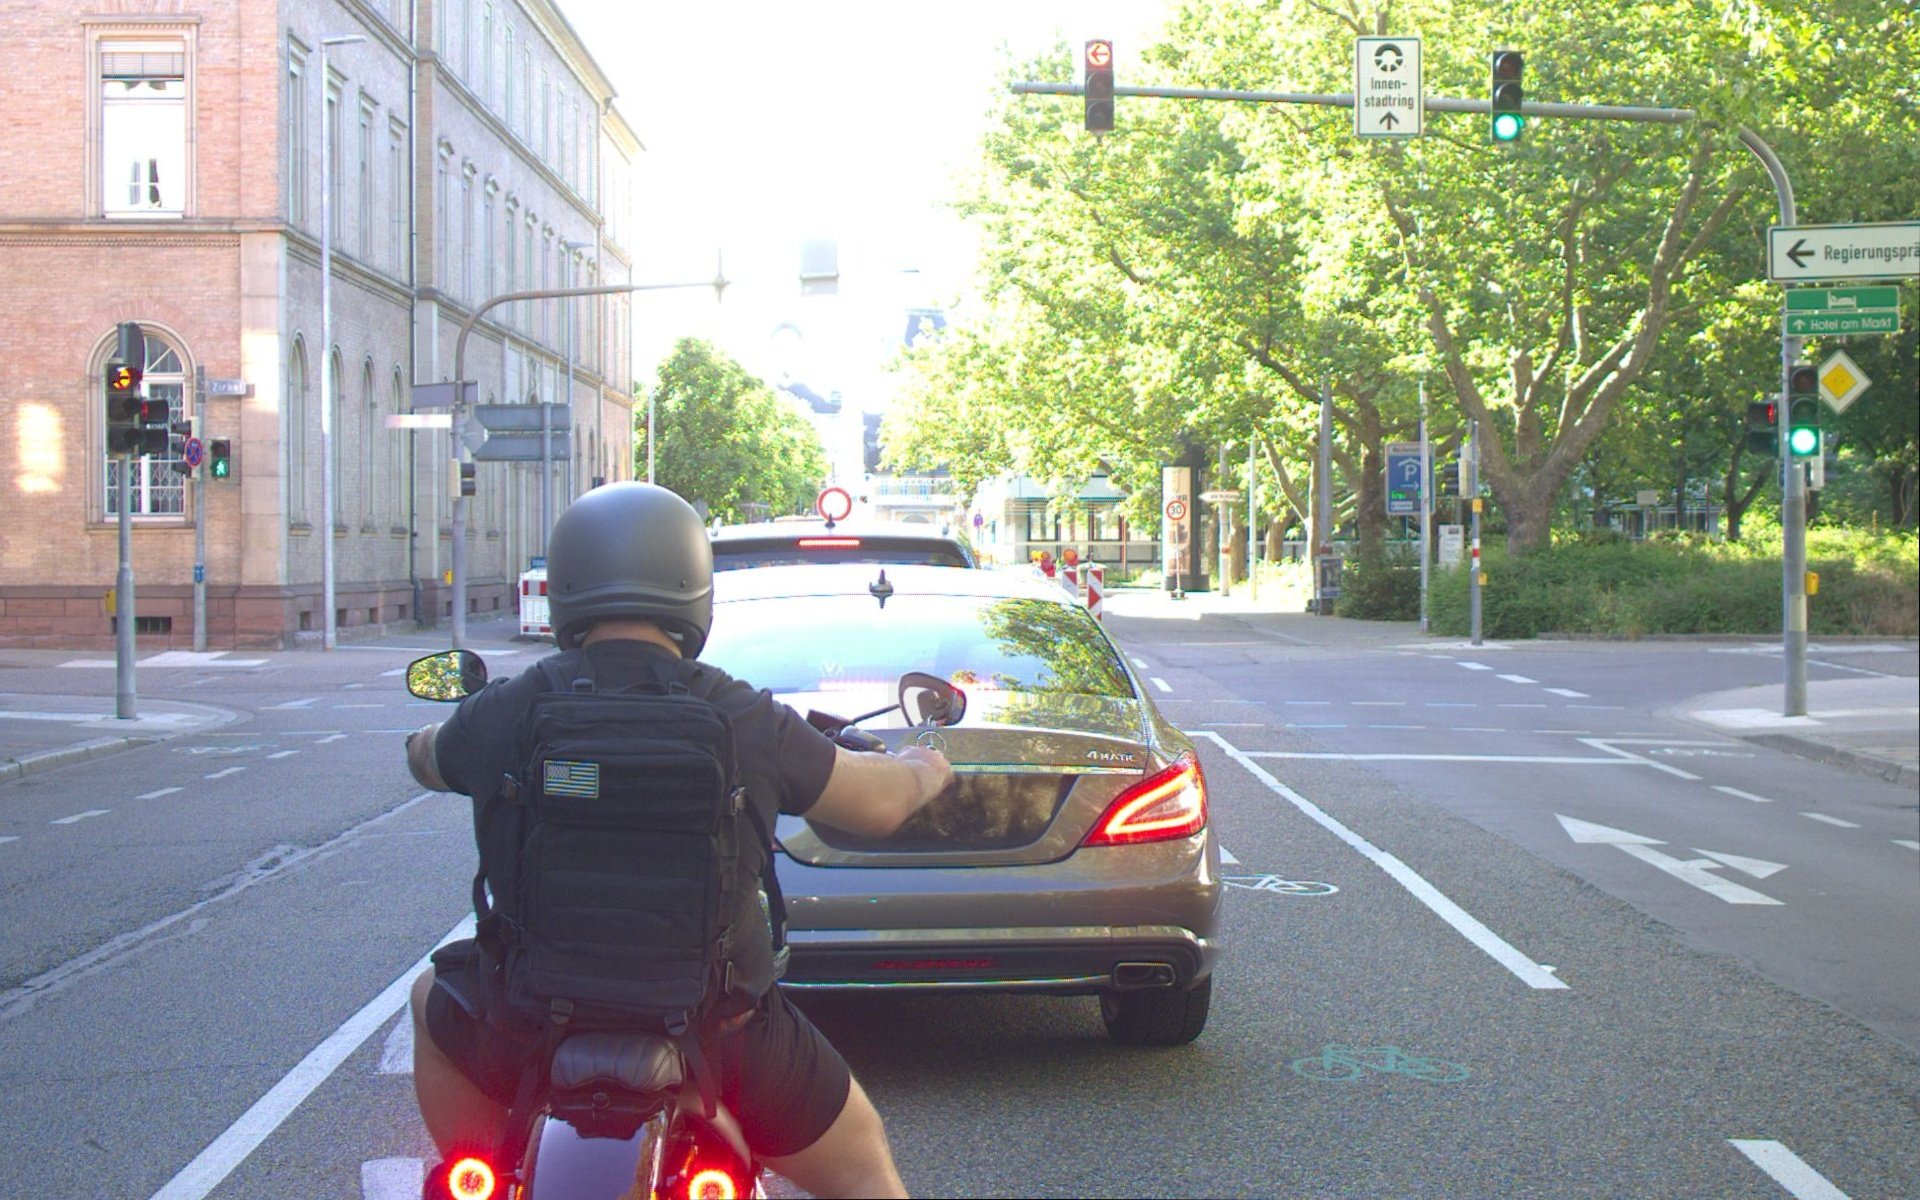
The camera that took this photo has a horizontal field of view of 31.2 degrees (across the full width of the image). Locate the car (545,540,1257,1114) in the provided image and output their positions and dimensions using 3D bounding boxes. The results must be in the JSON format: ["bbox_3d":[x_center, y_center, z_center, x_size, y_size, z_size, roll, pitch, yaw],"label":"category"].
[{"bbox_3d":[-0.403,0.572,11.127,1.824,1.481,4.334,1,1,-7],"label":"car"}]

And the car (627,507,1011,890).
[{"bbox_3d":[-0.634,0.409,16.973,1.651,1.646,4.000,1,1,-1],"label":"car"}]

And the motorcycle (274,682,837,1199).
[{"bbox_3d":[-0.558,0.787,5.422,0.660,1.236,2.058,1,1,-1],"label":"motorcycle"}]

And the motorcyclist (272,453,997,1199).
[{"bbox_3d":[-0.461,0.600,5.328,0.990,1.605,1.120,1,0,-1],"label":"motorcyclist"}]
